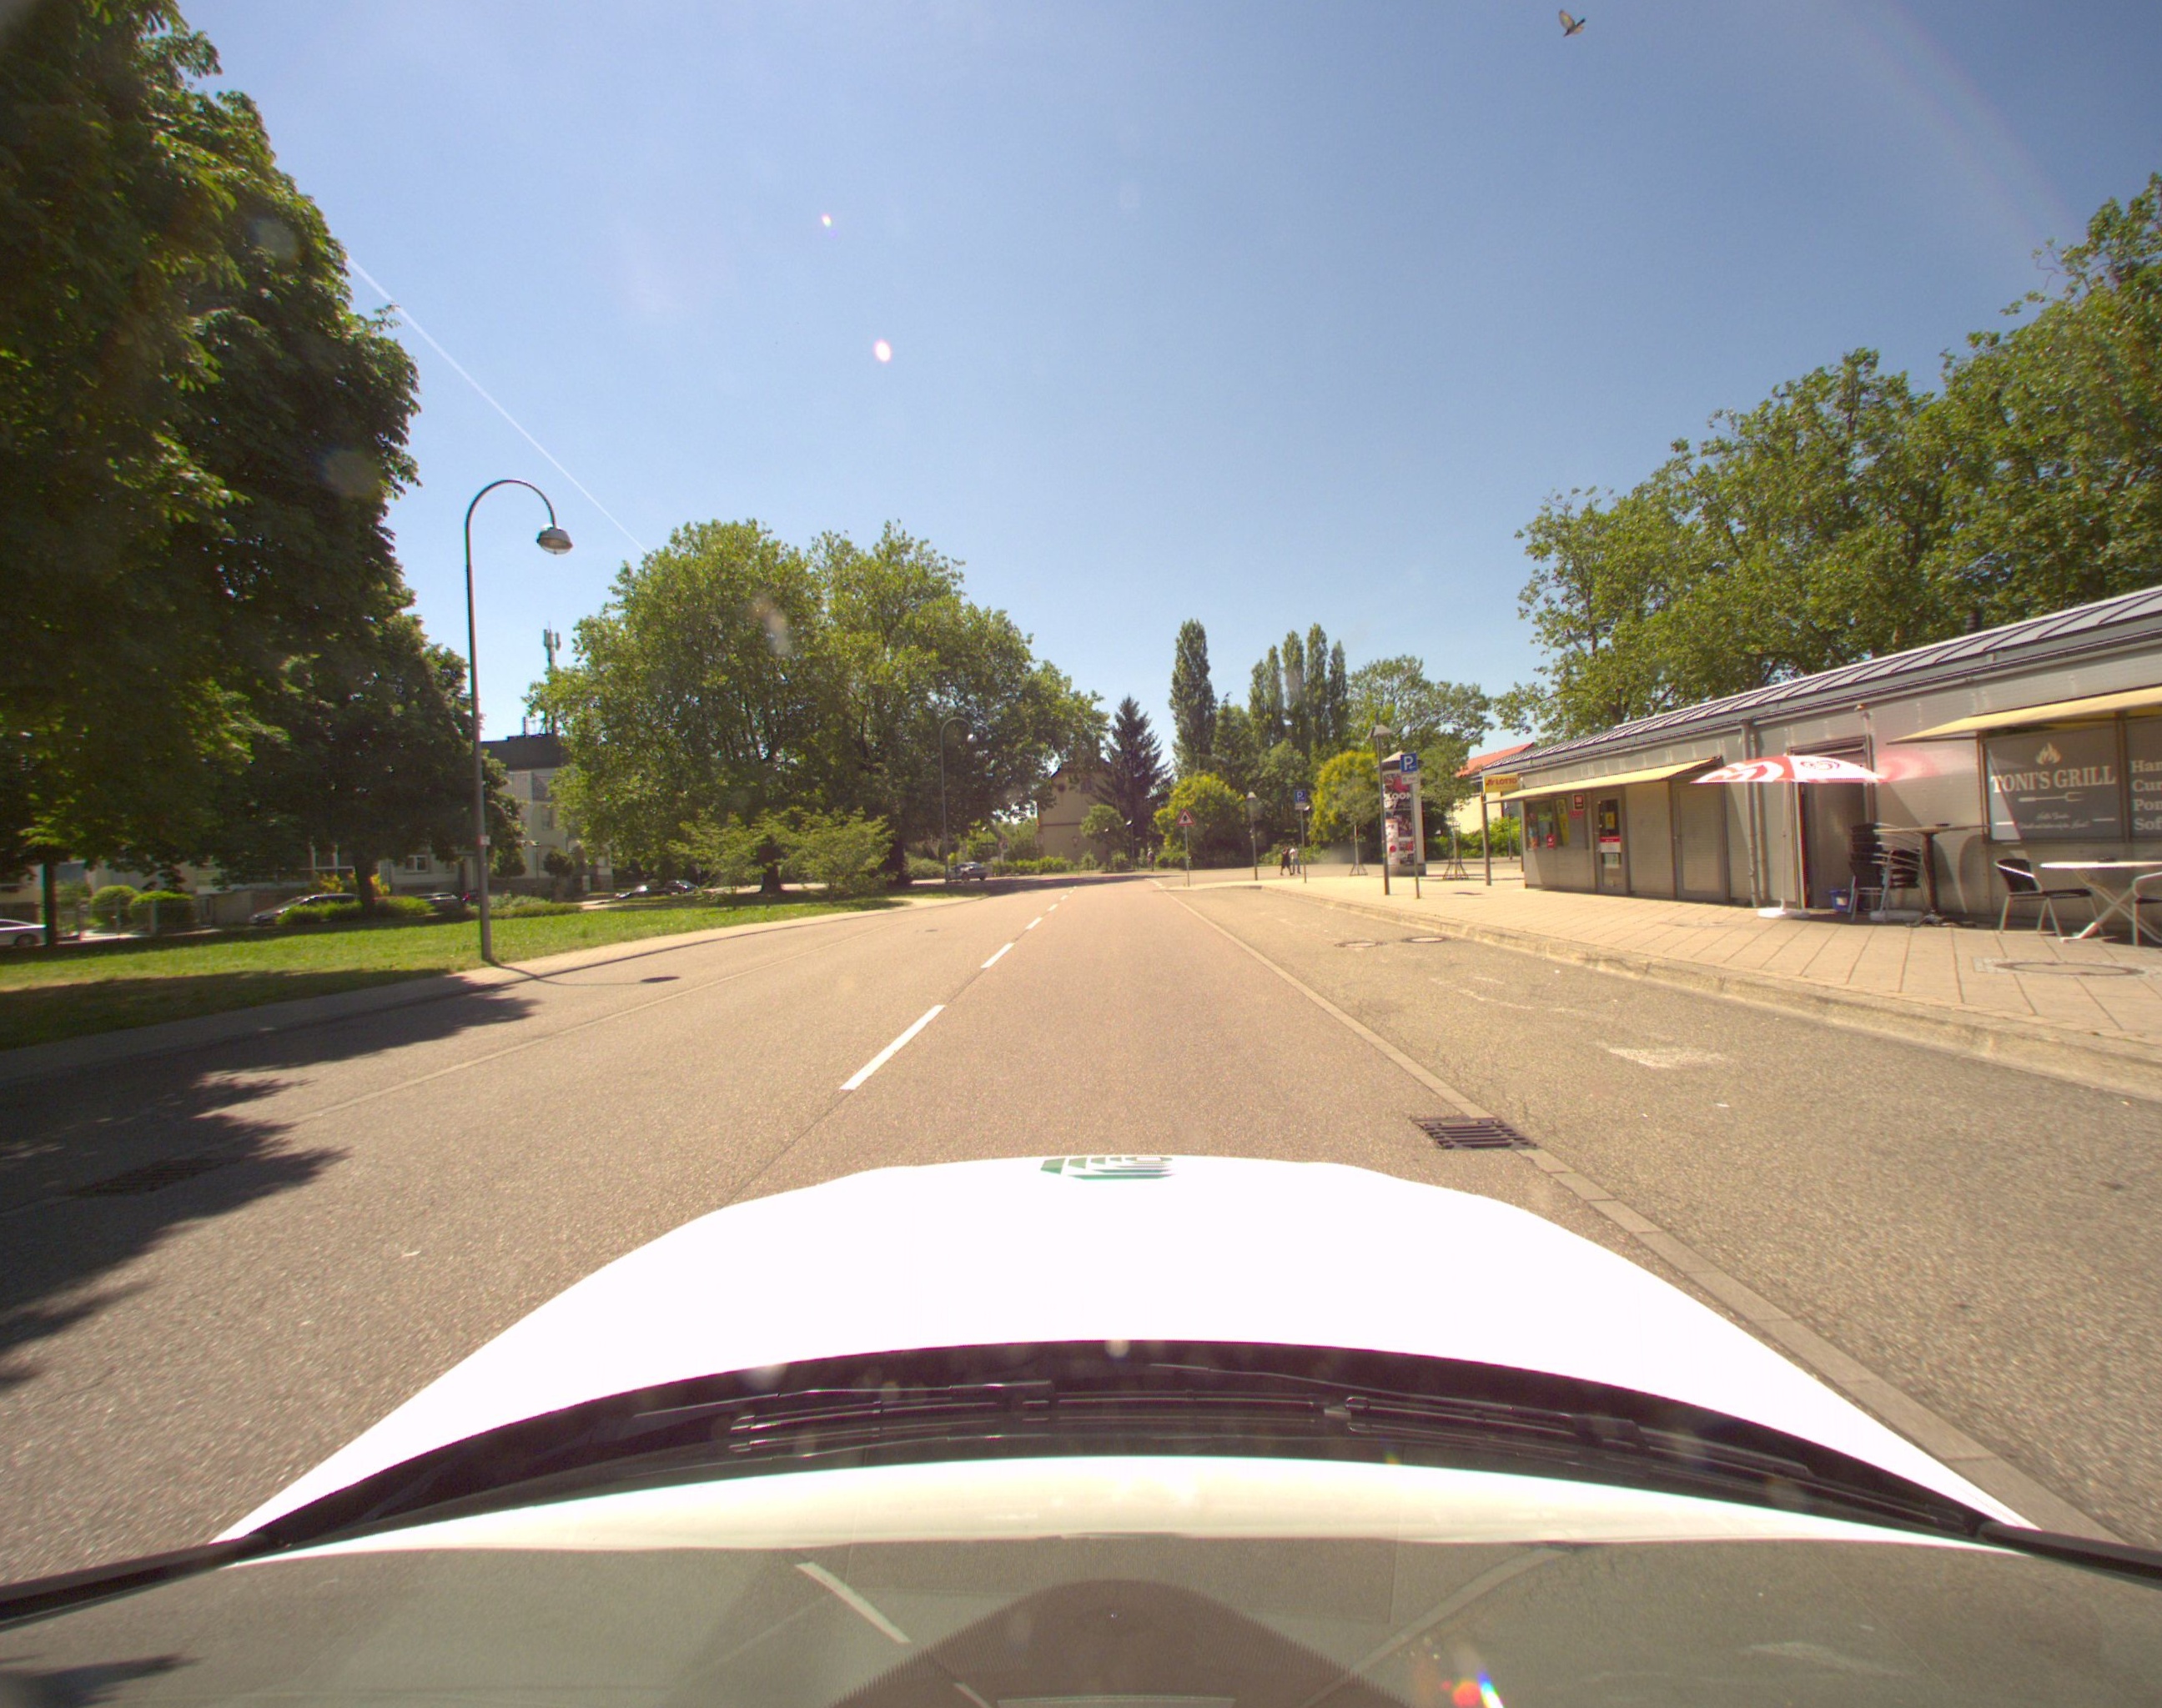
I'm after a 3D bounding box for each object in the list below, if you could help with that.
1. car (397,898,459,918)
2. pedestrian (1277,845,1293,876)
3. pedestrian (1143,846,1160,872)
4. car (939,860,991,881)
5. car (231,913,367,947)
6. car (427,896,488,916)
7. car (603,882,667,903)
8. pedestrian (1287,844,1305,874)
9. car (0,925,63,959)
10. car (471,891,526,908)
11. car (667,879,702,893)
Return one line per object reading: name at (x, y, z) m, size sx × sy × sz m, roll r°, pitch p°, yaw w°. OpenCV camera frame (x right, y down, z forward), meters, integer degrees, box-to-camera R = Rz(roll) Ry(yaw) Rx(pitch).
car at (-46.980, 3.900, 58.635) m, size 3.536 × 1.184 × 1.566 m, roll -3°, pitch 0°, yaw 13°
pedestrian at (11.387, 0.374, 45.499) m, size 0.629 × 1.649 × 0.755 m, roll -3°, pitch -3°, yaw 30°
pedestrian at (5.471, 0.420, 63.287) m, size 0.810 × 1.965 × 0.847 m, roll -2°, pitch -1°, yaw -38°
car at (-10.229, 1.448, 71.547) m, size 4.718 × 1.627 × 2.001 m, roll -3°, pitch 0°, yaw 45°
car at (-42.292, 4.087, 44.203) m, size 1.970 × 1.349 × 4.910 m, roll -3°, pitch 0°, yaw 19°
car at (-47.331, 3.966, 61.851) m, size 3.694 × 1.252 × 1.721 m, roll -3°, pitch 0°, yaw 15°
car at (-35.019, 2.995, 64.051) m, size 1.800 × 1.310 × 4.012 m, roll -3°, pitch 0°, yaw 25°
pedestrian at (12.319, 0.290, 46.651) m, size 0.713 × 1.649 × 0.755 m, roll -3°, pitch -3°, yaw 30°
car at (-49.061, 4.032, 35.838) m, size 1.970 × 1.349 × 4.910 m, roll -3°, pitch 0°, yaw 19°
car at (-45.847, 3.581, 64.083) m, size 3.536 × 1.184 × 1.483 m, roll -3°, pitch 0°, yaw 13°
car at (-41.103, 3.352, 84.390) m, size 4.143 × 1.310 × 1.653 m, roll -3°, pitch 0°, yaw 39°
